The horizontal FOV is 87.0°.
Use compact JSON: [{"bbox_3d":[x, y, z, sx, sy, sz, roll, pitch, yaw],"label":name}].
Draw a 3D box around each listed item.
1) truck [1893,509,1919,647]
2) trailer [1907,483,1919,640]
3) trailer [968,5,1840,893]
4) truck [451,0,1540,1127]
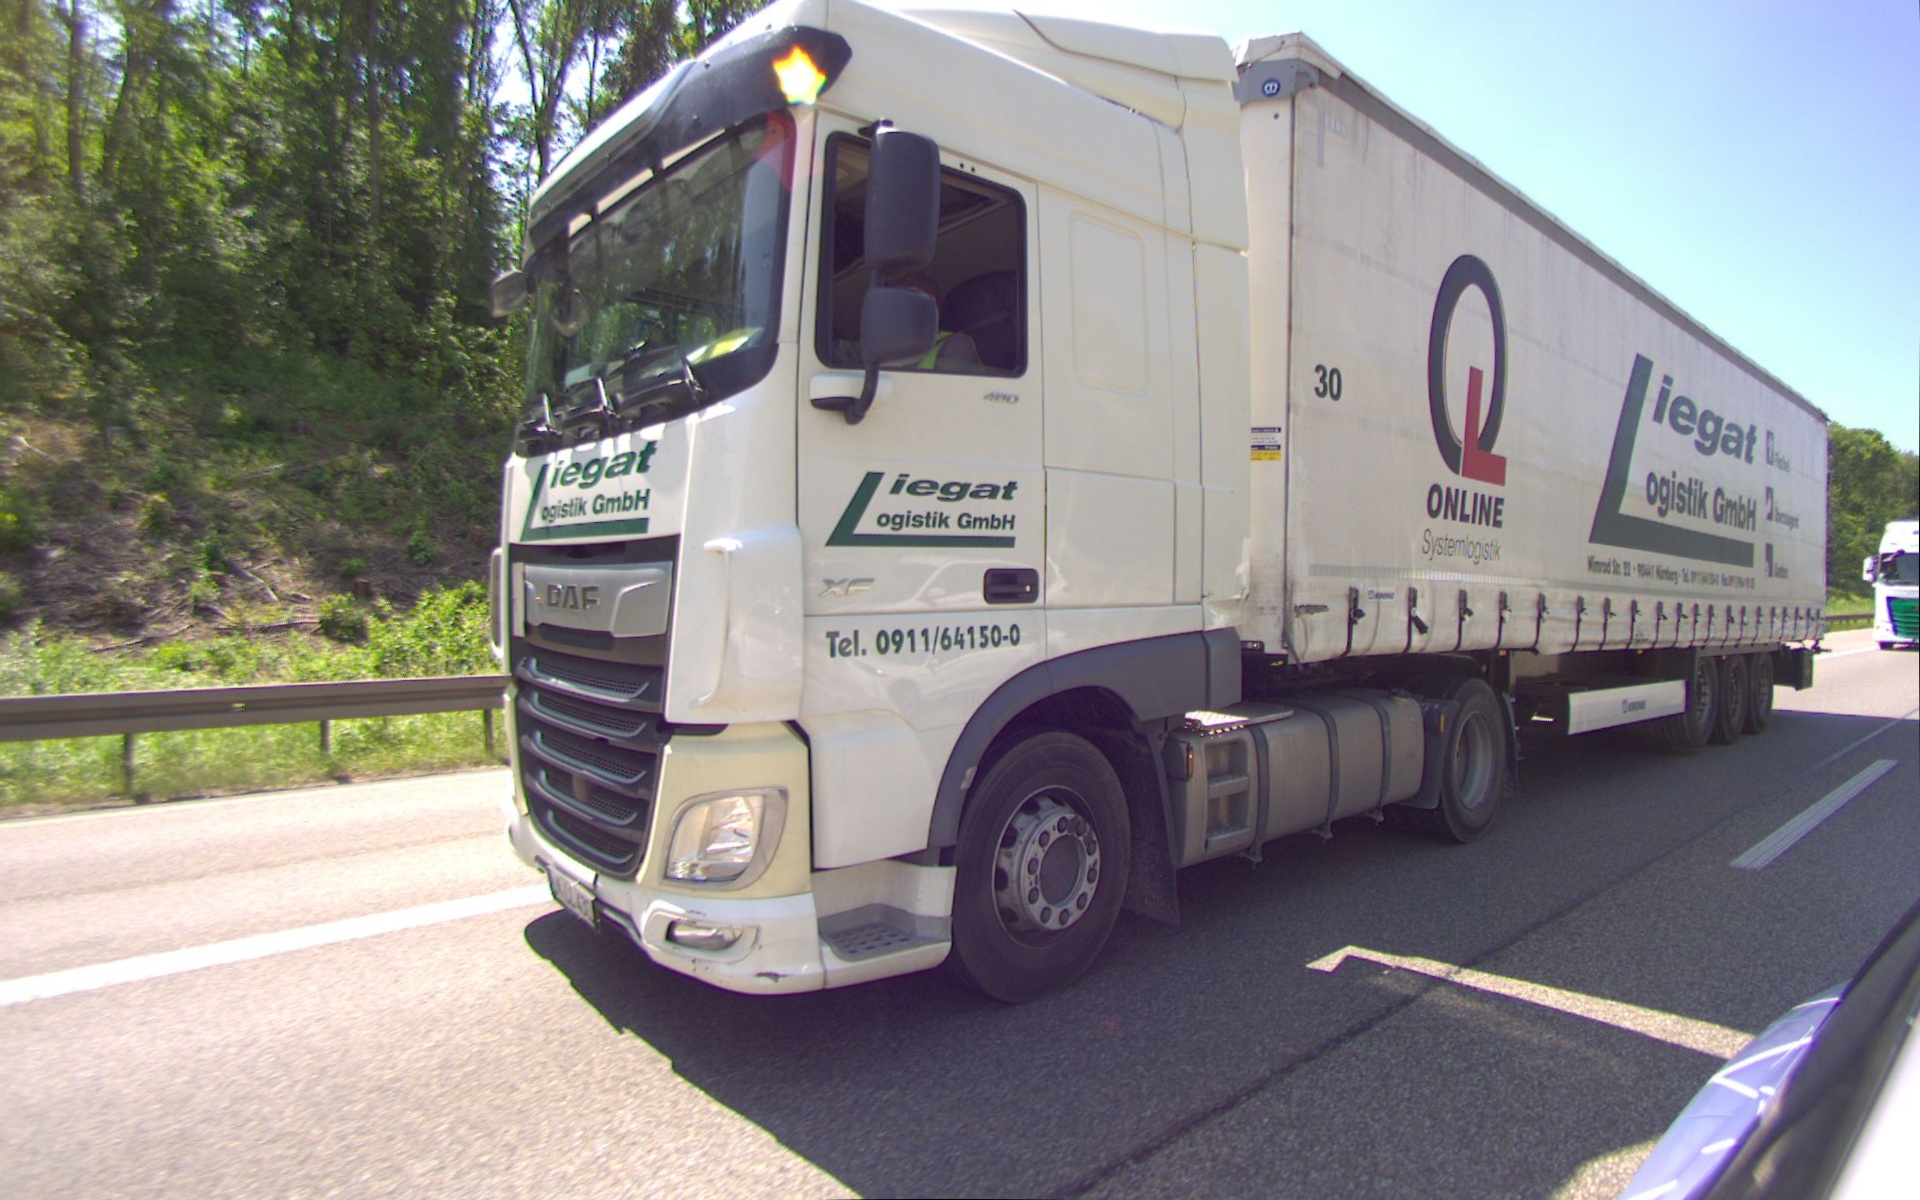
[{"bbox_3d":[31.303,-0.696,31.666,6.513,4.080,2.539,-1,1,-42],"label":"truck"},{"bbox_3d":[37.568,-1.347,37.033,15.003,5.103,2.573,-1,1,-40],"label":"trailer"},{"bbox_3d":[5.866,-0.666,10.195,13.011,4.259,2.790,1,-1,-41],"label":"trailer"},{"bbox_3d":[0.668,-0.700,5.687,5.766,4.259,2.790,1,-1,-41],"label":"truck"}]
